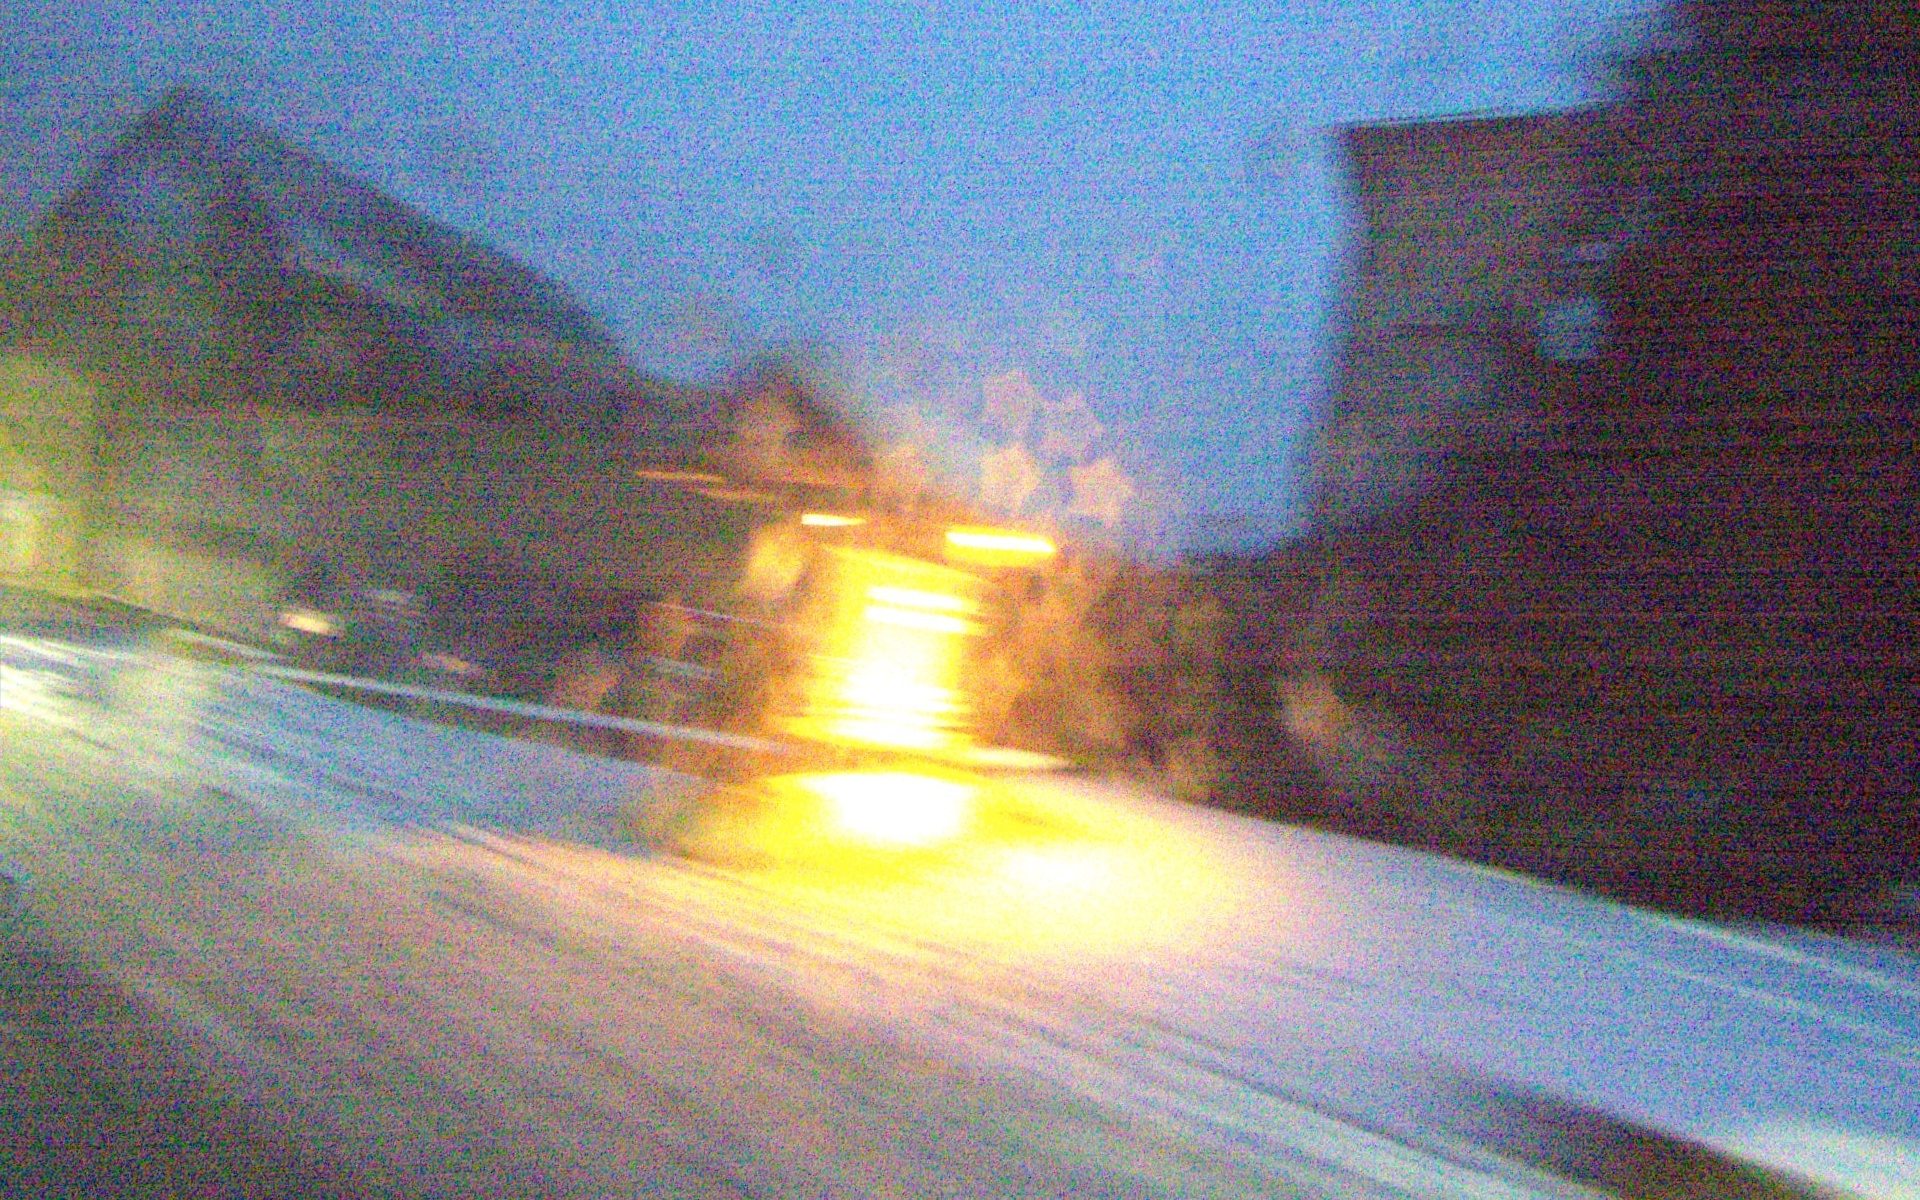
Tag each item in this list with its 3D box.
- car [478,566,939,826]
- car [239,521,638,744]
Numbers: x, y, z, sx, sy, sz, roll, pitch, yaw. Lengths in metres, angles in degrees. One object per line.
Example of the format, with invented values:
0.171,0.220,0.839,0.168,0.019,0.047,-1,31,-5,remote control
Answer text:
-2.557,0.899,10.292,4.080,1.829,1.886,7,-3,24,car
-6.482,0.390,12.513,4.311,2.062,1.886,7,-3,24,car
